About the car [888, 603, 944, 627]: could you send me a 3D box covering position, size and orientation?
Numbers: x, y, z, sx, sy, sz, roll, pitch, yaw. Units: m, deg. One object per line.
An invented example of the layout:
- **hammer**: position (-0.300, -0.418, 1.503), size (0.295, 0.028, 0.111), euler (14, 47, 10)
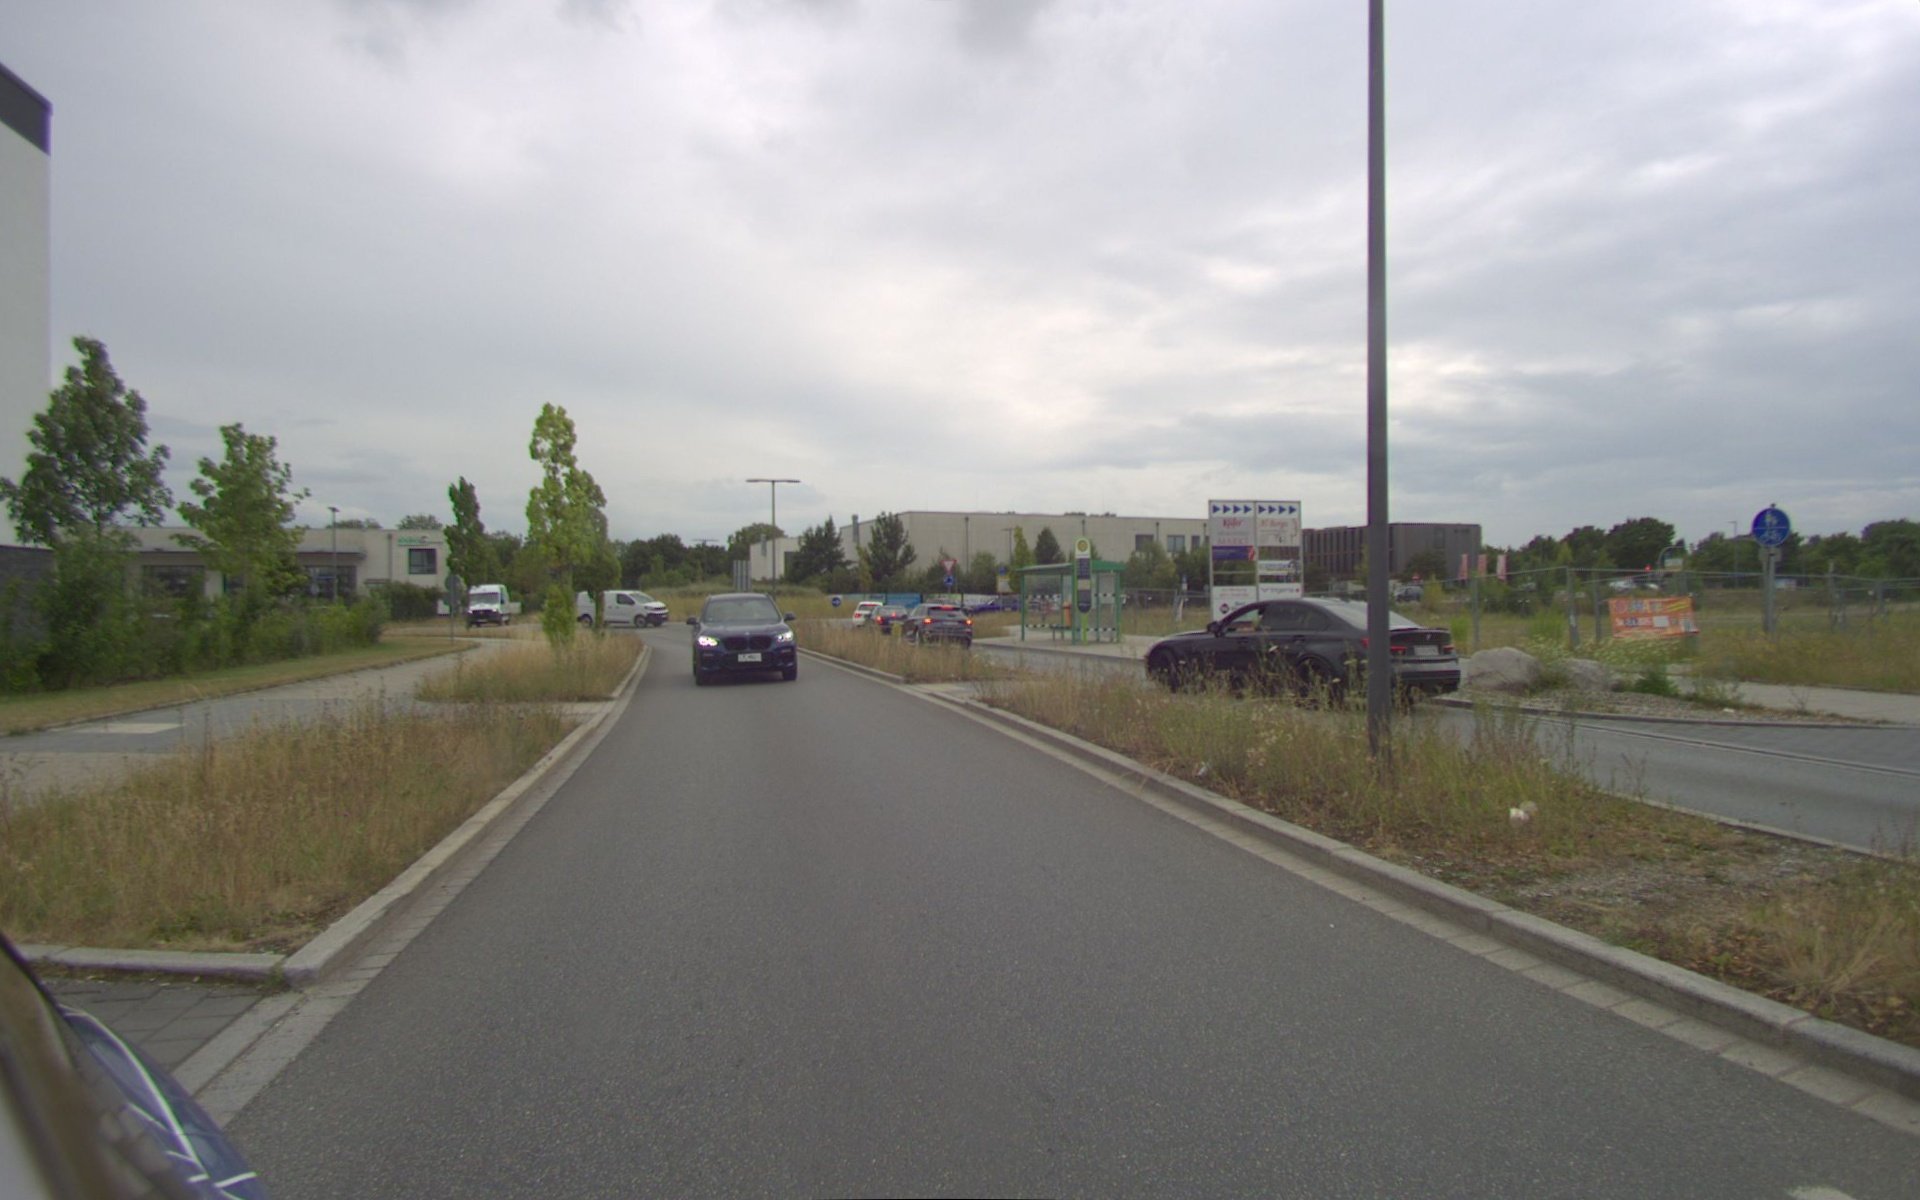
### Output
- **car**: position (-2.659, 0.913, 61.471), size (1.559, 1.364, 3.249), euler (-1, 0, 41)

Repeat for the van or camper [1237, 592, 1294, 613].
- **van or camper**: position (26.791, 0.214, 88.701), size (4.493, 1.762, 2.007), euler (-1, 1, -23)

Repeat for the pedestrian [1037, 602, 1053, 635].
- **pedestrian**: position (4.593, 1.007, 54.504), size (0.738, 1.735, 0.646), euler (0, 1, 19)

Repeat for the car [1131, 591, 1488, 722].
- **car**: position (4.606, 0.645, 14.089), size (1.755, 1.456, 4.624), euler (-2, 1, -31)

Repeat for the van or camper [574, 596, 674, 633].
- **van or camper**: position (-17.852, 0.769, 53.816), size (4.800, 1.905, 1.973), euler (-1, 0, 17)

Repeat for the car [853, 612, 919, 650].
- **car**: position (-3.156, 1.237, 42.196), size (1.760, 1.406, 4.385), euler (0, 1, -17)

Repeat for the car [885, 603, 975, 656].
- **car**: position (-1.052, 0.911, 32.906), size (1.767, 1.477, 4.334), euler (-1, 1, -18)

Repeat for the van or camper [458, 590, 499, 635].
- **van or camper**: position (-29.993, 0.700, 63.005), size (1.966, 2.601, 5.484), euler (-1, 1, -29)

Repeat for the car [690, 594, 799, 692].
- **car**: position (-4.213, 0.740, 19.736), size (1.863, 1.652, 4.010), euler (-1, 1, -13)

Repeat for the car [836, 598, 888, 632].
- **car**: position (-4.869, 0.709, 49.857), size (1.728, 1.492, 4.069), euler (0, 1, -17)
